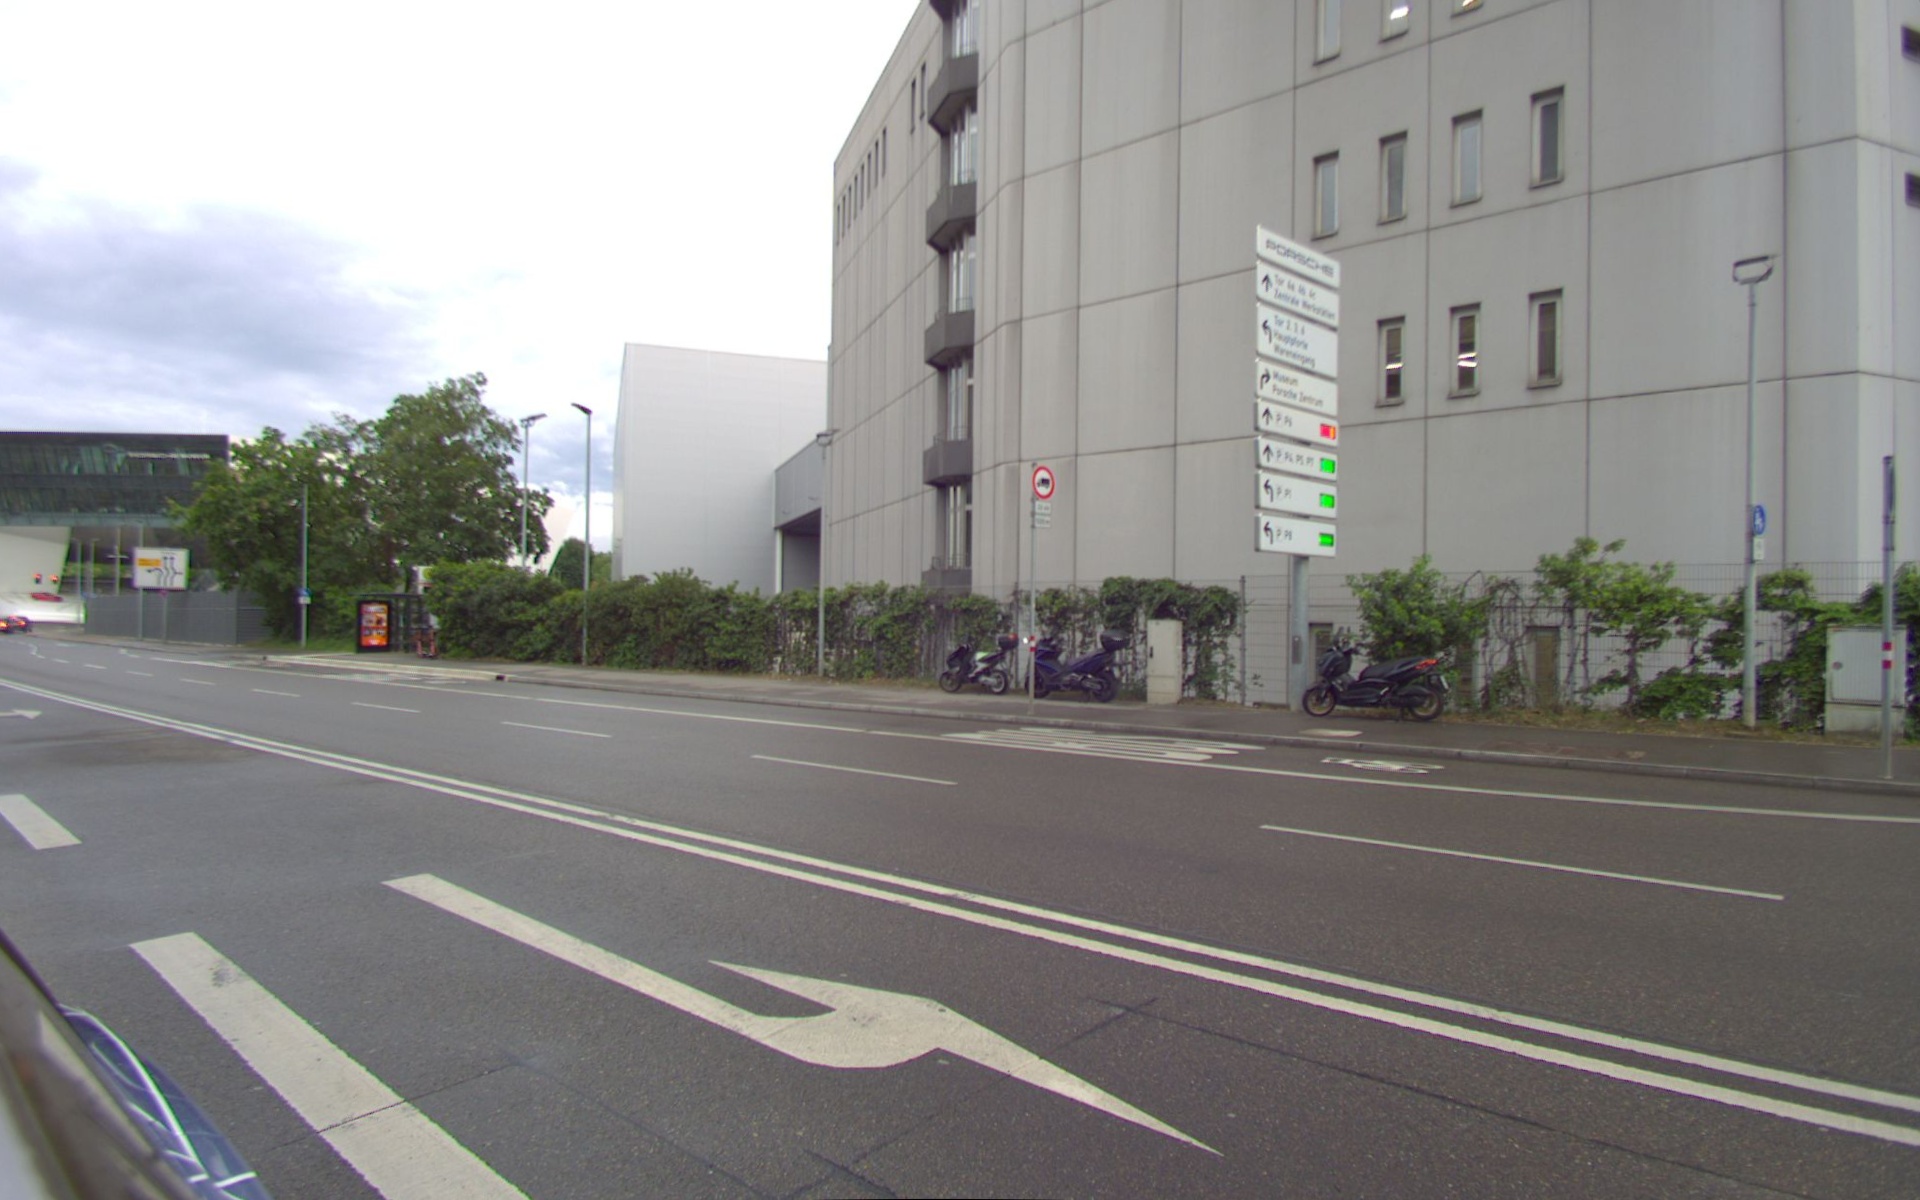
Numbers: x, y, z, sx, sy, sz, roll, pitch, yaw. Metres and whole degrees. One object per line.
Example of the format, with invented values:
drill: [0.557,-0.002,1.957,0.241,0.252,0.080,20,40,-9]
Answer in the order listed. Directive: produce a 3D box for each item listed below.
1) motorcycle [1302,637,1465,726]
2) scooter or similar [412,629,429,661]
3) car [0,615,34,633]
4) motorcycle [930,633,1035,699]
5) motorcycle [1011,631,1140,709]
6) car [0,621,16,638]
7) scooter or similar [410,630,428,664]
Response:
motorcycle: [6.438,1.202,15.467,2.156,1.257,0.777,-1,-2,40]
scooter or similar: [-20.270,1.673,38.032,0.383,1.189,1.253,1,-2,-36]
car: [-88.661,2.279,95.007,1.834,1.663,3.799,1,-2,-30]
motorcycle: [0.440,1.317,20.649,2.156,1.260,0.777,-1,-2,40]
motorcycle: [2.111,1.255,18.774,2.368,1.358,0.776,-1,-2,40]
car: [-85.036,2.598,88.991,2.233,1.488,4.059,1,-1,-32]
scooter or similar: [-19.659,1.706,36.756,0.373,1.190,1.380,1,-2,-36]
